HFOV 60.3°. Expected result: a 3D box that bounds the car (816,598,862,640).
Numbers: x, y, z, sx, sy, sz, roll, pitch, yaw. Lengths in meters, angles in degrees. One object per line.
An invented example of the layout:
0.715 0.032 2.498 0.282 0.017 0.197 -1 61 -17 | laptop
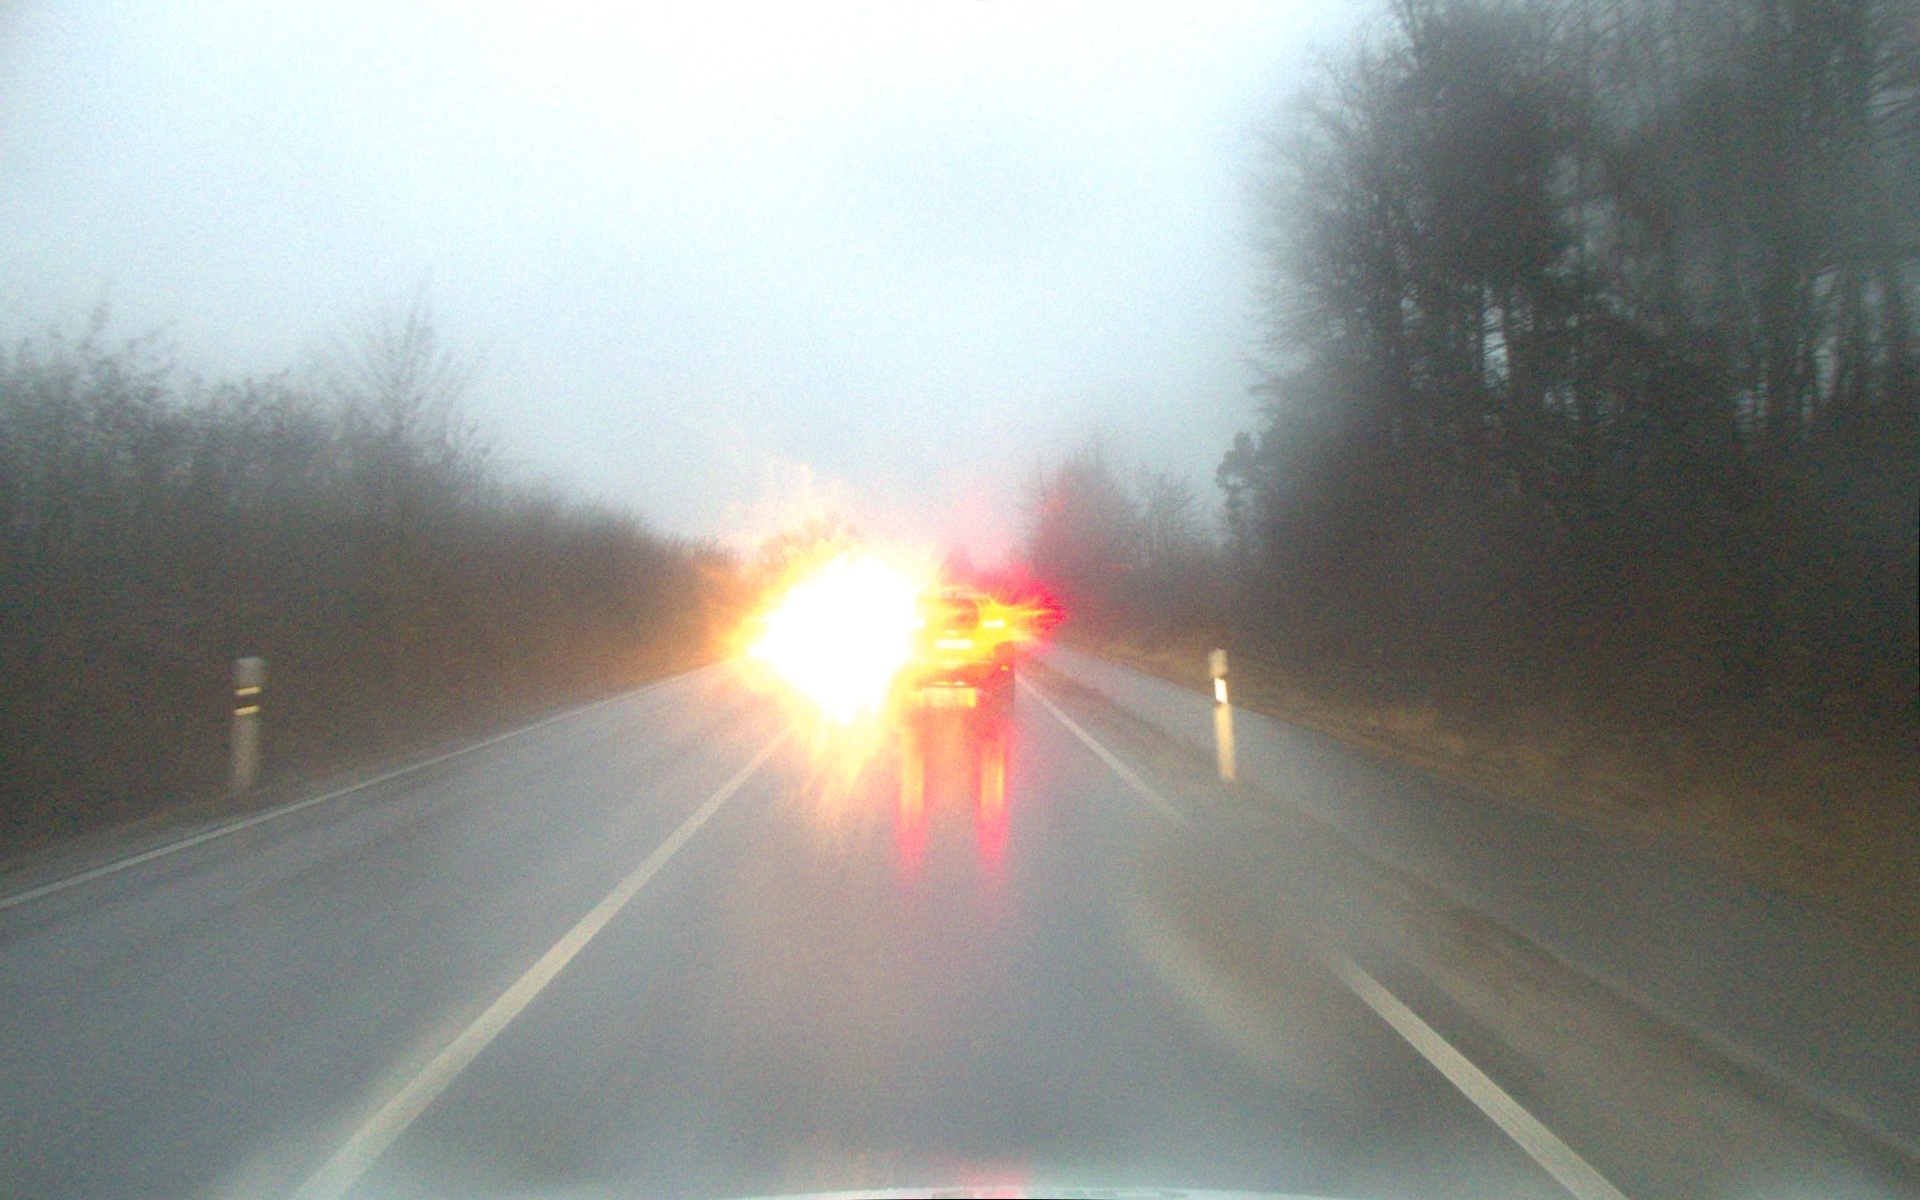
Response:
-5.027 0.772 69.109 1.731 1.626 3.998 -2 0 -2 | car

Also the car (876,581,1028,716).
-0.155 0.664 25.286 2.077 1.852 4.979 1 0 -1 | car
